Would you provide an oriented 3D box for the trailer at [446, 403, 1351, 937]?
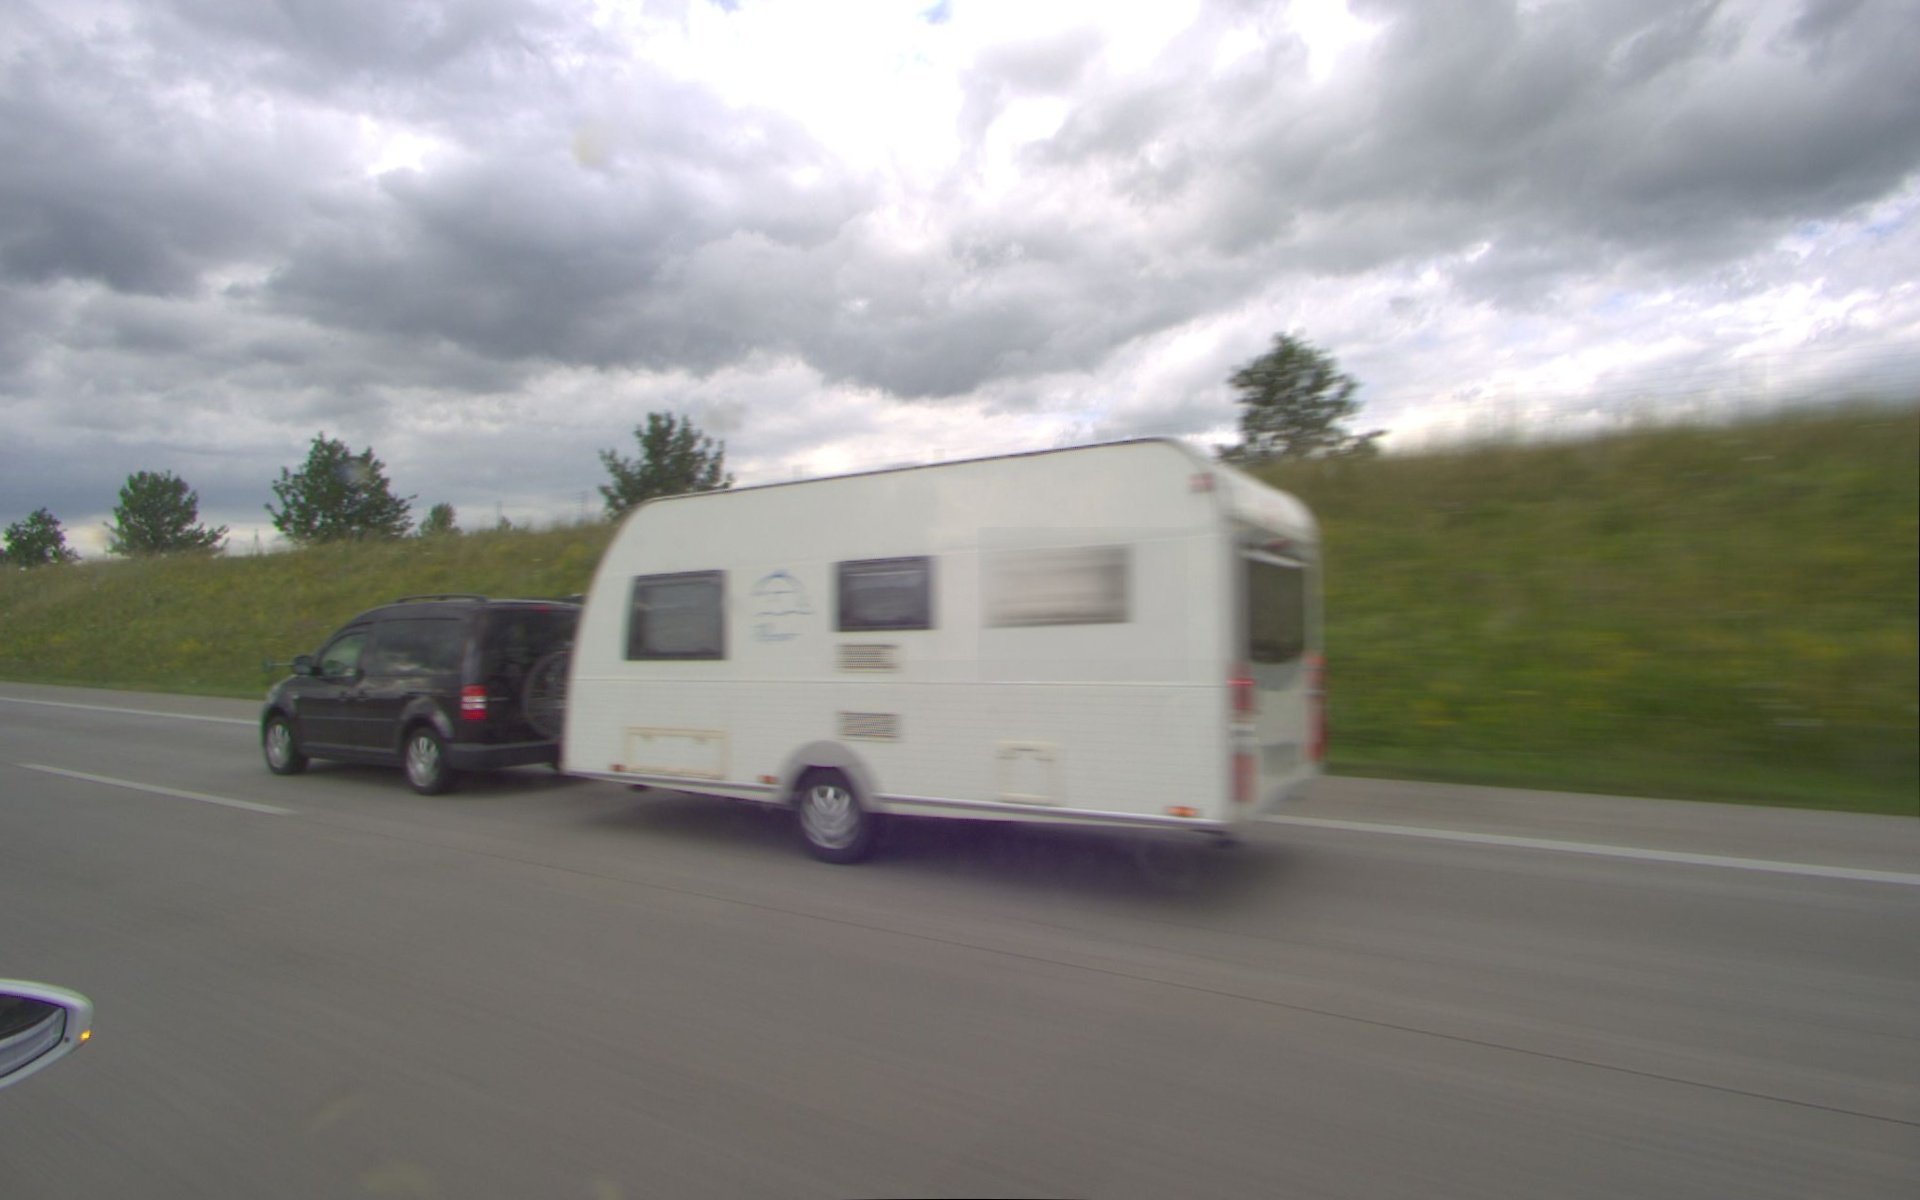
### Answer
[{"bbox_3d":[-0.738,0.420,7.653,6.623,2.567,2.605,-1,-1,31],"label":"trailer"}]

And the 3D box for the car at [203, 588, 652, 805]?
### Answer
[{"bbox_3d":[-5.736,0.883,10.608,4.958,1.833,1.936,-1,-1,31],"label":"car"}]
